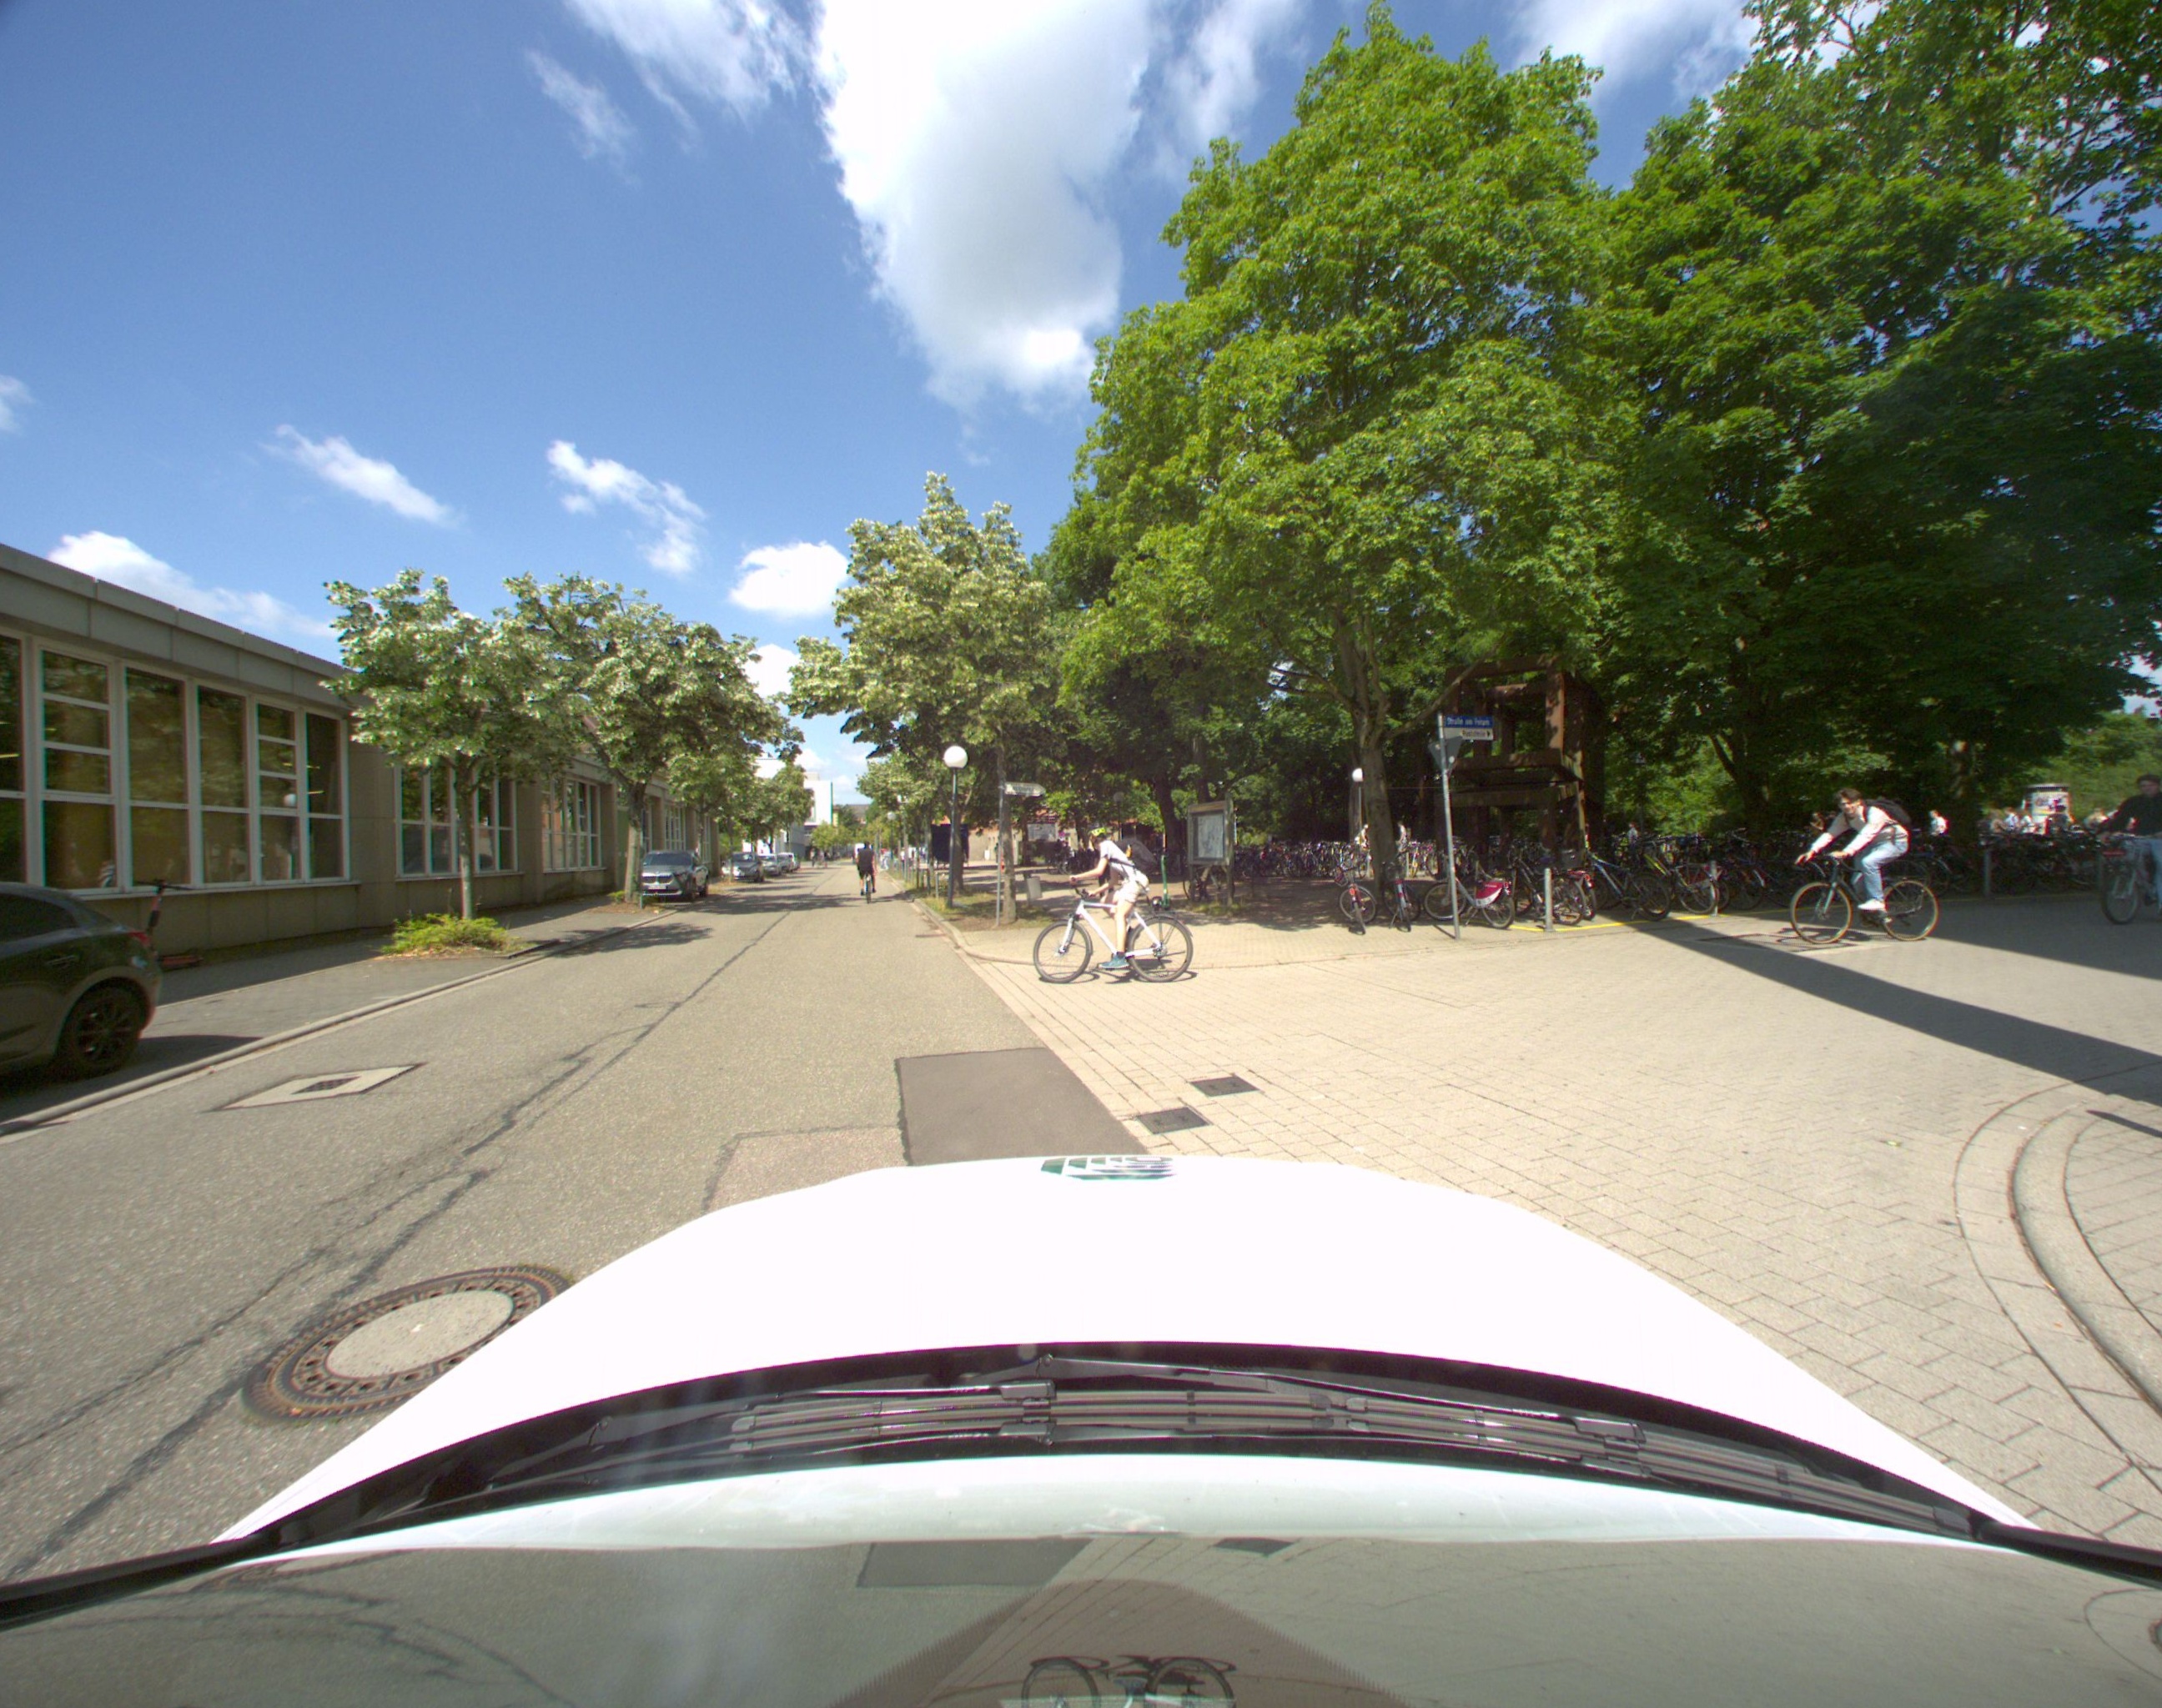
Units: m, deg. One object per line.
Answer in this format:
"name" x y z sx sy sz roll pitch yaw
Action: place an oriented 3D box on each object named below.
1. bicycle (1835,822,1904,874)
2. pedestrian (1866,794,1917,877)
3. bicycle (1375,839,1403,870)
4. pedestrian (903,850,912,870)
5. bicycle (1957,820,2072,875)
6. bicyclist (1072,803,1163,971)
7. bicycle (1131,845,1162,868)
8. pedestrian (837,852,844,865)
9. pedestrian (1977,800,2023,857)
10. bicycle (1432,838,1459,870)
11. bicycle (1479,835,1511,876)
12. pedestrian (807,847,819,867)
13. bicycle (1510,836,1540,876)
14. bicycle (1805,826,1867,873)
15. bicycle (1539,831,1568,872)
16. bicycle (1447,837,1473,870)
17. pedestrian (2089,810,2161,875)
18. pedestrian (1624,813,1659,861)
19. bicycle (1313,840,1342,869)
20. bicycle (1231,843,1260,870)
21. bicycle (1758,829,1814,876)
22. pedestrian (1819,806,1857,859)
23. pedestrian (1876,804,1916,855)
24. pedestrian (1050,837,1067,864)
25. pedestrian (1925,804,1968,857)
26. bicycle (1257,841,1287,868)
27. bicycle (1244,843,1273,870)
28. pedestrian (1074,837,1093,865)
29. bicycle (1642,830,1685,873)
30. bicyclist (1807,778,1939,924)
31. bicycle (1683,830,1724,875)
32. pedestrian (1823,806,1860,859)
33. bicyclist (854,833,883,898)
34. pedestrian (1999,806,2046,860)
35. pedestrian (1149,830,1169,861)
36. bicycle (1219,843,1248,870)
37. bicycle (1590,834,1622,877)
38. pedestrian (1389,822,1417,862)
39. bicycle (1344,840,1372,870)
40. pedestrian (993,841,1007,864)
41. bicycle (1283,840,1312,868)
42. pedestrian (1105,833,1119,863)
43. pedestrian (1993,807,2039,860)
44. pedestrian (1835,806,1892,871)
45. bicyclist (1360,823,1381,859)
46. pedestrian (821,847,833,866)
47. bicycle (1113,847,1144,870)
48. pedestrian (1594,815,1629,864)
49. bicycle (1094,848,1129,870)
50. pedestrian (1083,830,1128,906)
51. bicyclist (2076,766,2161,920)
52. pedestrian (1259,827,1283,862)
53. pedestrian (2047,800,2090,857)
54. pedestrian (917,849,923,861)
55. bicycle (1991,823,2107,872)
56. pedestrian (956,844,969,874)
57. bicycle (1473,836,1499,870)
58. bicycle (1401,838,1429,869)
"bicycle" 18.934 -0.153 19.601 0.569 1.199 1.708 0 1 21
"pedestrian" 18.064 -0.409 18.154 0.714 1.806 0.761 -2 1 -41
"bicycle" 11.480 0.013 30.339 0.468 1.083 1.871 0 2 37
"pedestrian" -13.538 0.431 63.657 0.621 1.519 0.733 -1 1 -13
"bicycle" 21.622 -0.160 18.899 0.504 1.219 1.685 -1 1 -26
"bicyclist" 0.426 0.361 9.193 0.891 1.801 0.606 -3 0 8
"bicycle" 3.237 0.132 40.202 0.468 1.083 1.870 0 2 43
"pedestrian" -34.392 0.662 116.522 0.767 1.774 0.905 -1 1 -8
"pedestrian" 28.319 -0.803 25.108 0.731 1.724 0.682 -1 2 -17
"bicycle" 12.919 -0.029 28.857 0.468 1.083 1.871 0 2 37
"bicycle" 12.025 0.027 23.612 0.496 1.108 1.919 0 2 37
"pedestrian" -25.289 0.282 76.927 0.774 1.774 0.897 -2 1 -38
"bicycle" 12.795 0.037 23.436 0.496 1.108 1.791 0 2 37
"bicycle" 18.372 -0.128 19.848 0.497 1.108 1.708 0 1 21
"bicycle" 13.350 -0.079 22.986 0.496 1.108 1.791 0 2 37
"bicycle" 13.288 -0.030 28.522 0.468 1.083 1.871 0 2 37
"pedestrian" 28.847 -0.313 22.466 1.053 1.724 0.722 -2 0 17
"pedestrian" 21.183 -0.647 30.796 0.773 1.774 0.897 -2 1 -37
"bicycle" 9.600 0.007 31.668 0.468 1.083 1.871 0 2 37
"bicycle" 6.965 0.082 34.407 0.468 1.083 1.871 0 2 37
"bicycle" 17.542 -0.053 20.287 0.497 1.108 1.708 0 1 21
"pedestrian" 25.460 -0.719 27.408 0.895 1.774 0.775 0 1 41
"pedestrian" 27.009 -0.806 27.008 0.895 1.679 0.775 0 1 41
"pedestrian" -1.527 -0.264 54.679 0.919 1.774 0.781 -1 1 -18
"pedestrian" 28.397 -0.772 26.722 0.895 1.679 0.775 0 1 41
"bicycle" 7.915 -0.003 33.683 0.468 1.083 1.871 0 2 37
"bicycle" 7.465 0.077 34.160 0.468 1.083 1.871 0 2 37
"pedestrian" 0.158 -0.194 51.838 0.773 1.774 0.898 -2 1 -33
"bicycle" 15.459 -0.084 21.634 0.624 1.108 1.709 0 1 25
"bicyclist" 8.952 -0.041 9.232 0.867 1.573 0.642 -1 2 8
"bicycle" 16.275 -0.059 21.320 0.496 1.108 1.709 0 1 25
"pedestrian" 26.104 -0.748 27.983 0.895 1.774 0.775 0 1 41
"bicyclist" -6.330 0.322 24.226 0.670 1.875 0.821 -3 0 -21
"pedestrian" 30.207 -0.678 26.139 0.895 1.679 0.775 0 1 41
"pedestrian" 4.632 -0.498 48.606 0.773 1.802 0.898 -2 1 -33
"bicycle" 6.537 0.089 34.828 0.468 1.083 1.871 0 2 37
"bicycle" 14.328 0.016 22.264 0.496 1.108 1.709 0 1 25
"pedestrian" 14.393 -0.538 36.463 0.769 1.774 0.902 -1 1 -15
"bicycle" 10.518 0.026 30.899 0.468 1.083 1.871 0 2 37
"pedestrian" -6.372 -0.137 64.240 0.773 1.774 0.898 -2 1 -33
"bicycle" 8.673 -0.016 32.569 0.468 1.083 1.871 0 2 37
"pedestrian" 1.864 -0.351 48.881 0.610 1.774 0.654 -2 1 -24
"pedestrian" 30.727 -0.670 26.780 0.895 1.679 0.775 0 1 41
"pedestrian" 20.938 -0.417 21.808 0.896 1.702 0.774 -1 1 23
"bicyclist" 12.738 -0.558 35.840 0.712 1.568 0.599 0 1 42
"pedestrian" -24.244 0.270 77.804 0.774 1.774 0.897 -2 1 -38
"bicycle" 2.421 0.203 41.087 0.468 1.083 1.870 0 2 43
"pedestrian" 19.686 -0.553 30.236 0.774 1.774 0.897 -2 1 -38
"bicycle" 1.555 0.230 41.823 1.866 1.083 0.469 -2 1 -33
"pedestrian" 0.554 0.320 18.784 0.728 1.684 0.868 -2 0 -19
"bicyclist" 13.527 -0.154 10.325 0.963 1.887 0.675 -1 2 -1
"pedestrian" 9.796 -0.474 41.981 0.773 1.774 0.898 -2 1 -33
"pedestrian" 30.739 -0.782 25.351 0.677 1.724 0.736 -2 1 38
"pedestrian" -20.337 0.086 103.014 0.571 1.519 0.835 -1 1 -21
"bicycle" 22.634 -0.167 19.079 0.504 1.108 1.685 -1 1 -26
"pedestrian" -6.113 0.250 42.031 0.568 1.519 0.839 -1 1 -7
"bicycle" 13.918 -0.053 27.938 0.468 1.083 1.871 0 2 37
"bicycle" 12.171 -0.033 29.638 0.468 1.083 1.871 0 2 37
